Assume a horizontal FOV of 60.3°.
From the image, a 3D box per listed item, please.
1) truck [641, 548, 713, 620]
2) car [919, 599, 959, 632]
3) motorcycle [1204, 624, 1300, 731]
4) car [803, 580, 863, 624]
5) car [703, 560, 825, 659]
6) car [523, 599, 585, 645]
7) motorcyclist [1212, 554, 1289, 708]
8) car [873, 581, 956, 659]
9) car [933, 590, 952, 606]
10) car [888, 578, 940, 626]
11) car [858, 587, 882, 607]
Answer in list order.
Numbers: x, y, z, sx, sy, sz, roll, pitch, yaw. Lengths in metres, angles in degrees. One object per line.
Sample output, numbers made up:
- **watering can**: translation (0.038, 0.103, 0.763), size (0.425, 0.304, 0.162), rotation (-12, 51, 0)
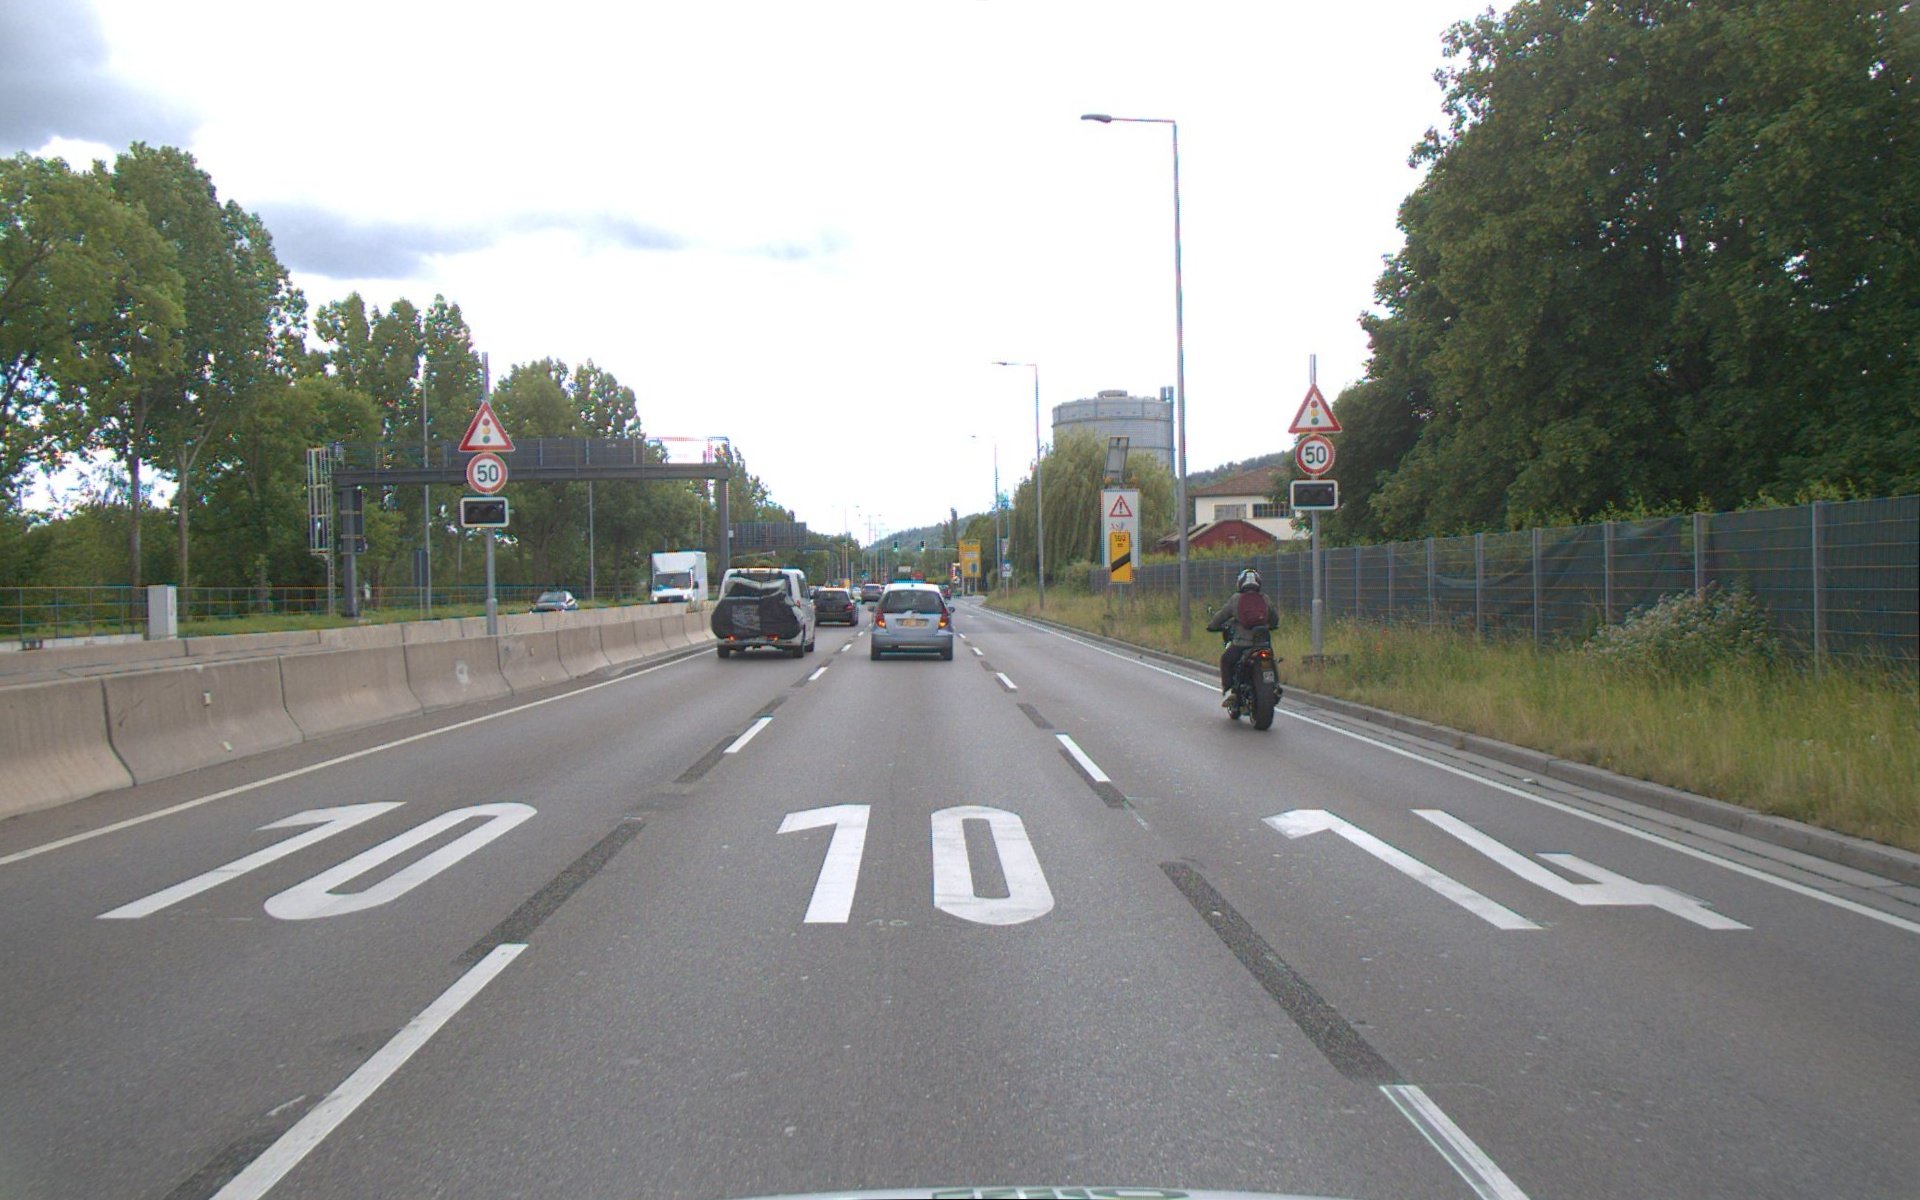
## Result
- **truck**: translation (-13.177, -0.737, 77.403), size (2.355, 3.161, 7.199), rotation (1, 0, -2)
- **car**: translation (-0.994, 0.711, 77.908), size (1.803, 1.489, 3.999), rotation (1, 0, -2)
- **motorcycle**: translation (3.186, 0.822, 18.207), size (0.692, 1.058, 2.027), rotation (1, 0, 0)
- **car**: translation (-4.773, 0.059, 62.599), size (1.953, 1.579, 4.000), rotation (1, 0, 0)
- **car**: translation (-4.157, 0.165, 35.844), size (2.170, 1.959, 5.000), rotation (1, 0, -2)
- **car**: translation (-19.168, 1.015, 78.201), size (1.953, 2.049, 4.000), rotation (1, 0, 0)
- **motorcyclist**: translation (3.194, 0.331, 18.221), size (0.670, 1.638, 0.845), rotation (1, 0, 0)
- **car**: translation (-0.987, 0.384, 35.665), size (1.676, 1.556, 3.999), rotation (1, 0, -2)
- **car**: translation (-1.871, -0.208, 175.394), size (1.954, 1.579, 3.998), rotation (1, 0, -3)
- **car**: translation (-1.730, 0.047, 62.777), size (1.869, 1.713, 3.999), rotation (1, 0, -1)
- **car**: translation (-7.309, -0.255, 134.648), size (1.954, 1.579, 3.998), rotation (1, 0, -3)
